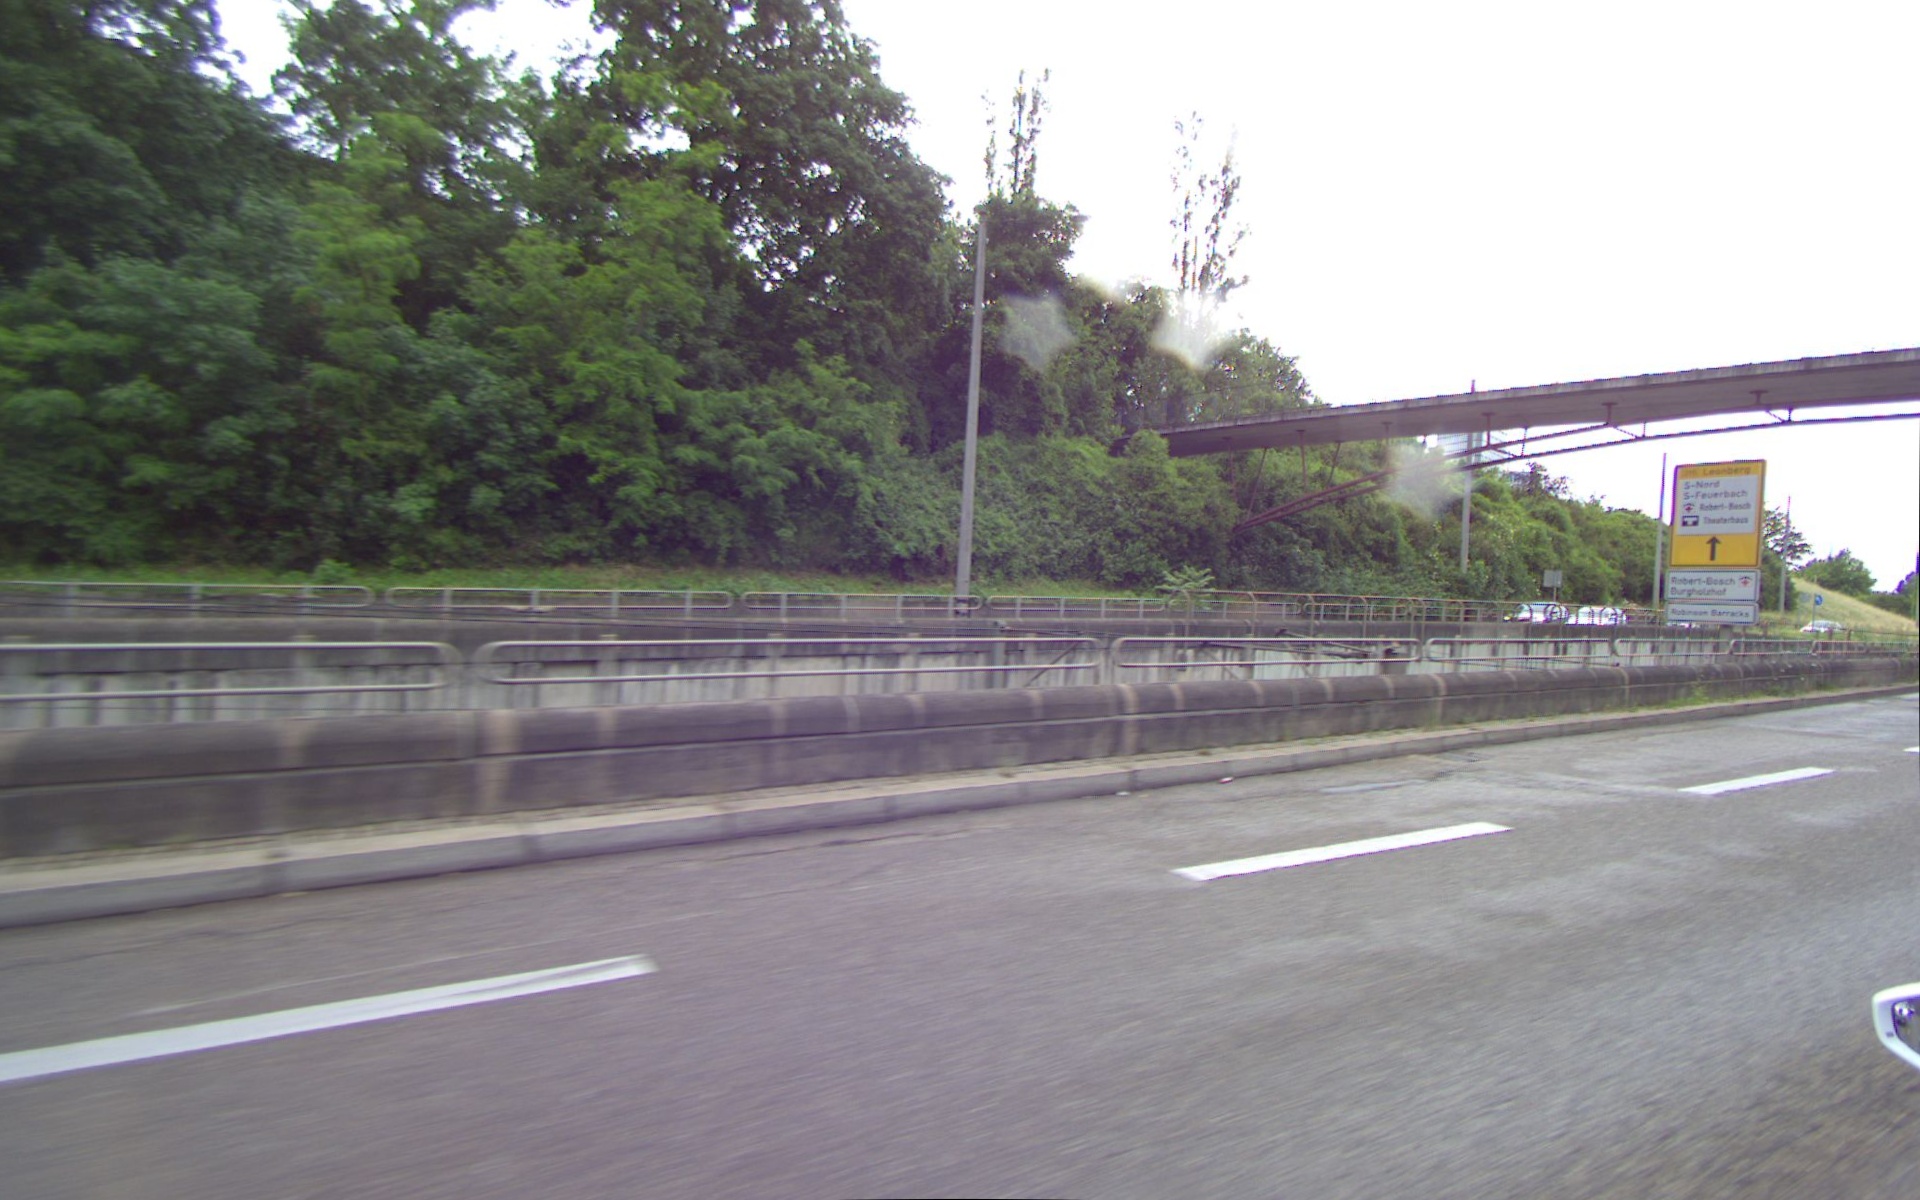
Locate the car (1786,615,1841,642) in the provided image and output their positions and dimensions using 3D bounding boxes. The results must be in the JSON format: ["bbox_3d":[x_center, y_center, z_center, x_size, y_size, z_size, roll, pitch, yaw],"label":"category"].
[{"bbox_3d":[65.457,2.187,77.038,4.582,1.859,1.981,3,0,-33],"label":"car"}]

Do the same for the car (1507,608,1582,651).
[{"bbox_3d":[27.694,1.428,47.535,4.522,1.941,1.657,2,-1,-40],"label":"car"}]
